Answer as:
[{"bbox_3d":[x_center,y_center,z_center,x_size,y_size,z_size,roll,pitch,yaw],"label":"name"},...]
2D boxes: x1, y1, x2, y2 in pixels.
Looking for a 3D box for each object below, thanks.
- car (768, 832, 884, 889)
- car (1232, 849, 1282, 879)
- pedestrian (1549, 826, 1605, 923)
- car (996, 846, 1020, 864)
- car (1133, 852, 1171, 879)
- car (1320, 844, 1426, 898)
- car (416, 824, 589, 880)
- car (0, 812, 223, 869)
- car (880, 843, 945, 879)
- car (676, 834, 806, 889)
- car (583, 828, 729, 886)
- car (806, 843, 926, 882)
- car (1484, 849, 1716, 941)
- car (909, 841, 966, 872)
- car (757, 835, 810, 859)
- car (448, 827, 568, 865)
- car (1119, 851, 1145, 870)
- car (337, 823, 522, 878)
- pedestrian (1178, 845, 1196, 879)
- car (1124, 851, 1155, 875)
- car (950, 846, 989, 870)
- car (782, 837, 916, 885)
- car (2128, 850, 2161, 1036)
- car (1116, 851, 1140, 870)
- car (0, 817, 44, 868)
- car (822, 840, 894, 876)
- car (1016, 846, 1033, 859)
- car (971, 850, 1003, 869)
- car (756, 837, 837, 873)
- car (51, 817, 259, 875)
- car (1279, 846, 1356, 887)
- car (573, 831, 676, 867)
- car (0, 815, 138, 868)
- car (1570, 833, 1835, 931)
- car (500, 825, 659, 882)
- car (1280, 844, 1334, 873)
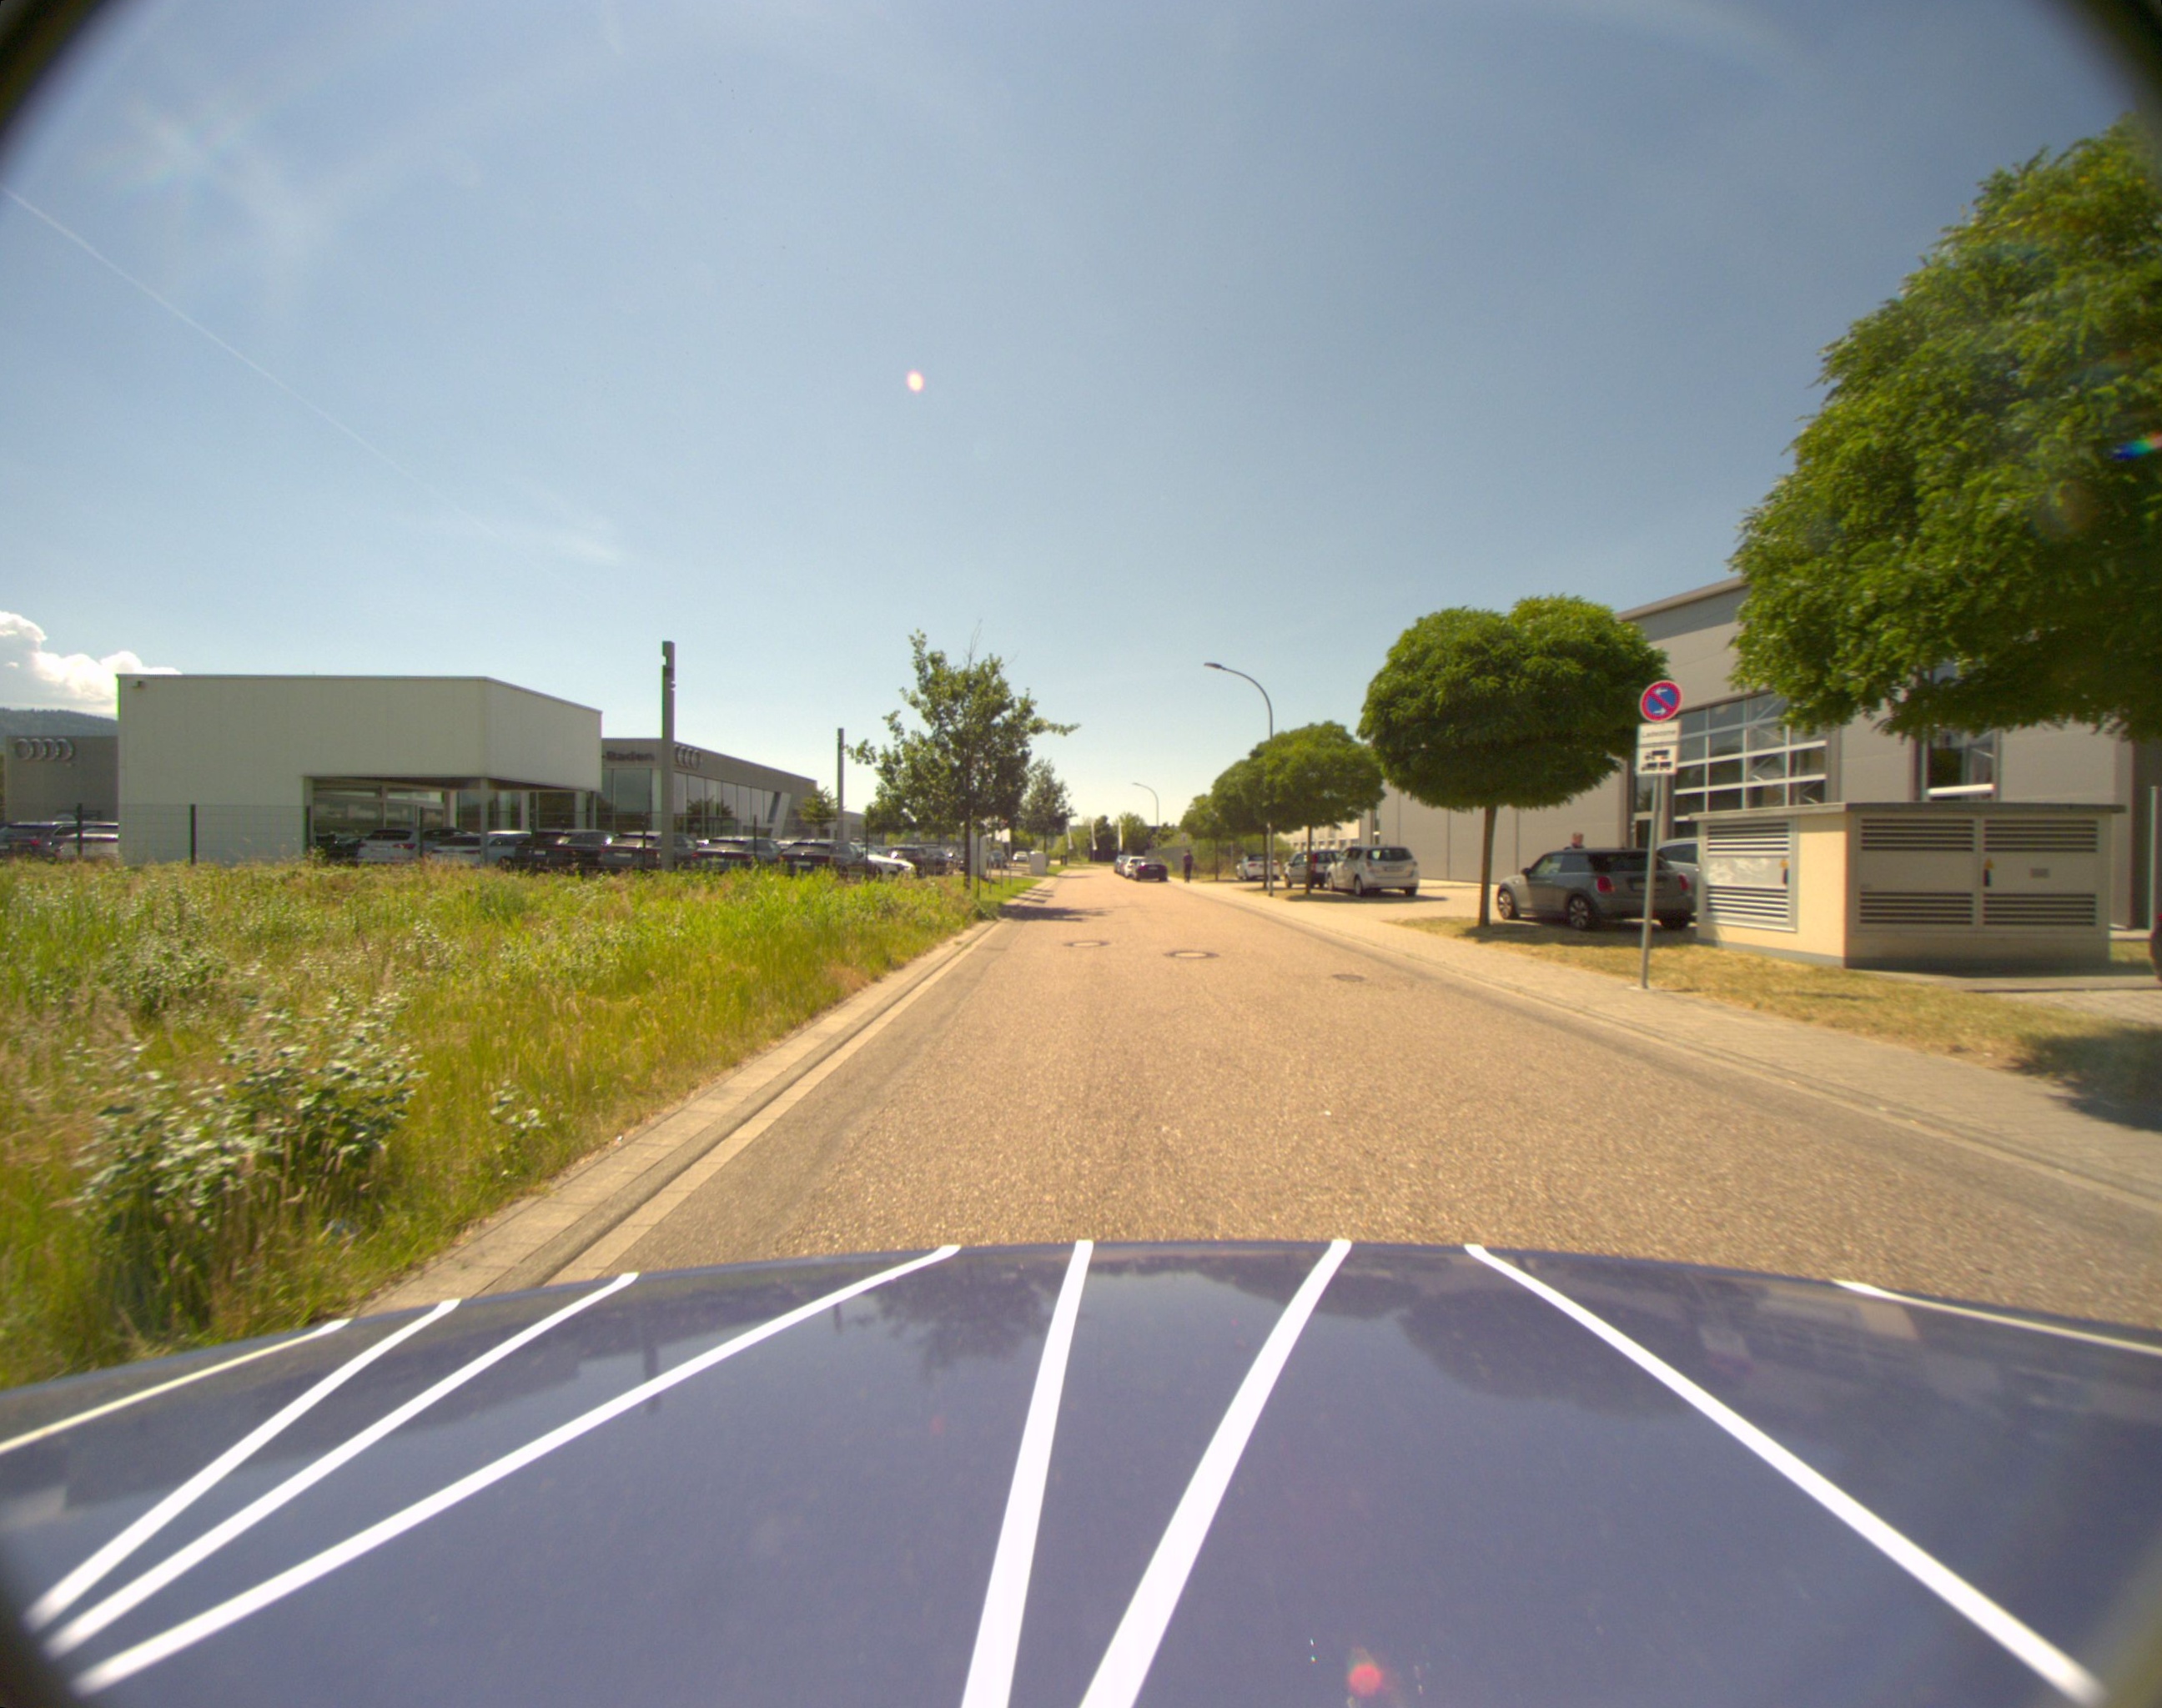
[{"bbox_3d":[-8.427,0.202,25.718,2.029,1.683,5.108,2,0,2],"label":"car"},{"bbox_3d":[9.449,0.494,41.125,1.828,1.491,4.328,-2,0,2],"label":"car"},{"bbox_3d":[10.440,0.410,15.976,0.840,1.961,0.967,-1,1,40],"label":"pedestrian"},{"bbox_3d":[-6.978,0.062,72.864,1.892,1.562,4.227,3,0,-1],"label":"car"},{"bbox_3d":[4.135,0.657,44.772,1.829,1.491,4.525,1,0,0],"label":"car"},{"bbox_3d":[9.385,0.509,24.844,1.770,1.564,4.539,-1,0,1],"label":"car"},{"bbox_3d":[-19.252,-0.064,25.654,2.029,1.644,4.809,2,0,2],"label":"car"},{"bbox_3d":[-32.956,-0.432,25.827,2.029,1.715,4.809,2,0,2],"label":"car"},{"bbox_3d":[-8.095,0.305,36.995,2.030,1.564,4.779,2,0,1],"label":"car"},{"bbox_3d":[-11.177,0.221,25.447,2.029,1.601,4.809,2,0,2],"label":"car"},{"bbox_3d":[-13.994,0.087,25.410,2.029,1.715,4.809,2,0,2],"label":"car"},{"bbox_3d":[-9.106,0.343,32.458,4.540,1.449,2.031,2,0,0],"label":"car"},{"bbox_3d":[9.371,0.655,14.155,1.770,1.445,3.840,-1,0,2],"label":"car"},{"bbox_3d":[-7.938,0.140,42.553,2.030,1.505,5.239,3,0,1],"label":"car"},{"bbox_3d":[-22.023,-0.552,56.422,1.966,1.612,4.984,2,2,0],"label":"car"},{"bbox_3d":[-27.011,-0.361,36.062,2.030,1.580,4.779,2,0,1],"label":"car"},{"bbox_3d":[4.117,0.502,61.635,1.829,1.491,4.520,1,0,1],"label":"car"},{"bbox_3d":[-21.836,-0.109,25.812,2.029,1.644,4.809,2,0,2],"label":"car"},{"bbox_3d":[5.653,0.425,40.535,0.746,1.791,1.135,-2,0,2],"label":"pedestrian"},{"bbox_3d":[3.856,0.571,50.826,1.829,1.491,4.259,1,0,1],"label":"car"},{"bbox_3d":[-7.794,0.252,53.682,1.966,1.448,4.984,2,2,0],"label":"car"},{"bbox_3d":[-9.040,0.253,29.841,4.538,1.683,2.032,2,0,3],"label":"car"},{"bbox_3d":[9.285,0.673,3.740,1.770,1.445,4.714,-2,0,1],"label":"car"},{"bbox_3d":[4.121,0.544,67.595,1.829,1.561,4.386,1,0,-1],"label":"car"},{"bbox_3d":[-38.394,-0.391,25.385,1.998,1.774,3.999,1,1,0],"label":"car"},{"bbox_3d":[-10.790,0.180,37.119,2.030,1.580,4.779,2,0,1],"label":"car"},{"bbox_3d":[-7.295,-0.199,97.716,1.824,1.519,4.944,2,0,-1],"label":"car"},{"bbox_3d":[-7.600,0.487,61.799,1.966,1.358,4.721,3,-1,0],"label":"car"},{"bbox_3d":[-13.697,0.053,36.887,2.030,1.580,4.779,2,0,1],"label":"car"},{"bbox_3d":[-30.490,-0.261,25.246,1.998,1.774,3.999,1,1,0],"label":"car"},{"bbox_3d":[9.241,0.472,29.997,1.687,1.491,3.703,0,0,-4],"label":"car"},{"bbox_3d":[-21.912,-0.243,36.739,2.030,1.580,4.778,2,0,0],"label":"car"},{"bbox_3d":[-35.829,-0.435,25.604,2.029,1.715,4.809,2,0,2],"label":"car"},{"bbox_3d":[11.886,0.469,14.999,1.739,1.618,4.348,-1,0,2],"label":"car"},{"bbox_3d":[-16.632,-0.030,25.567,2.029,1.670,4.809,2,0,2],"label":"car"},{"bbox_3d":[12.452,0.245,42.171,1.828,1.491,4.259,-2,0,2],"label":"car"}]
